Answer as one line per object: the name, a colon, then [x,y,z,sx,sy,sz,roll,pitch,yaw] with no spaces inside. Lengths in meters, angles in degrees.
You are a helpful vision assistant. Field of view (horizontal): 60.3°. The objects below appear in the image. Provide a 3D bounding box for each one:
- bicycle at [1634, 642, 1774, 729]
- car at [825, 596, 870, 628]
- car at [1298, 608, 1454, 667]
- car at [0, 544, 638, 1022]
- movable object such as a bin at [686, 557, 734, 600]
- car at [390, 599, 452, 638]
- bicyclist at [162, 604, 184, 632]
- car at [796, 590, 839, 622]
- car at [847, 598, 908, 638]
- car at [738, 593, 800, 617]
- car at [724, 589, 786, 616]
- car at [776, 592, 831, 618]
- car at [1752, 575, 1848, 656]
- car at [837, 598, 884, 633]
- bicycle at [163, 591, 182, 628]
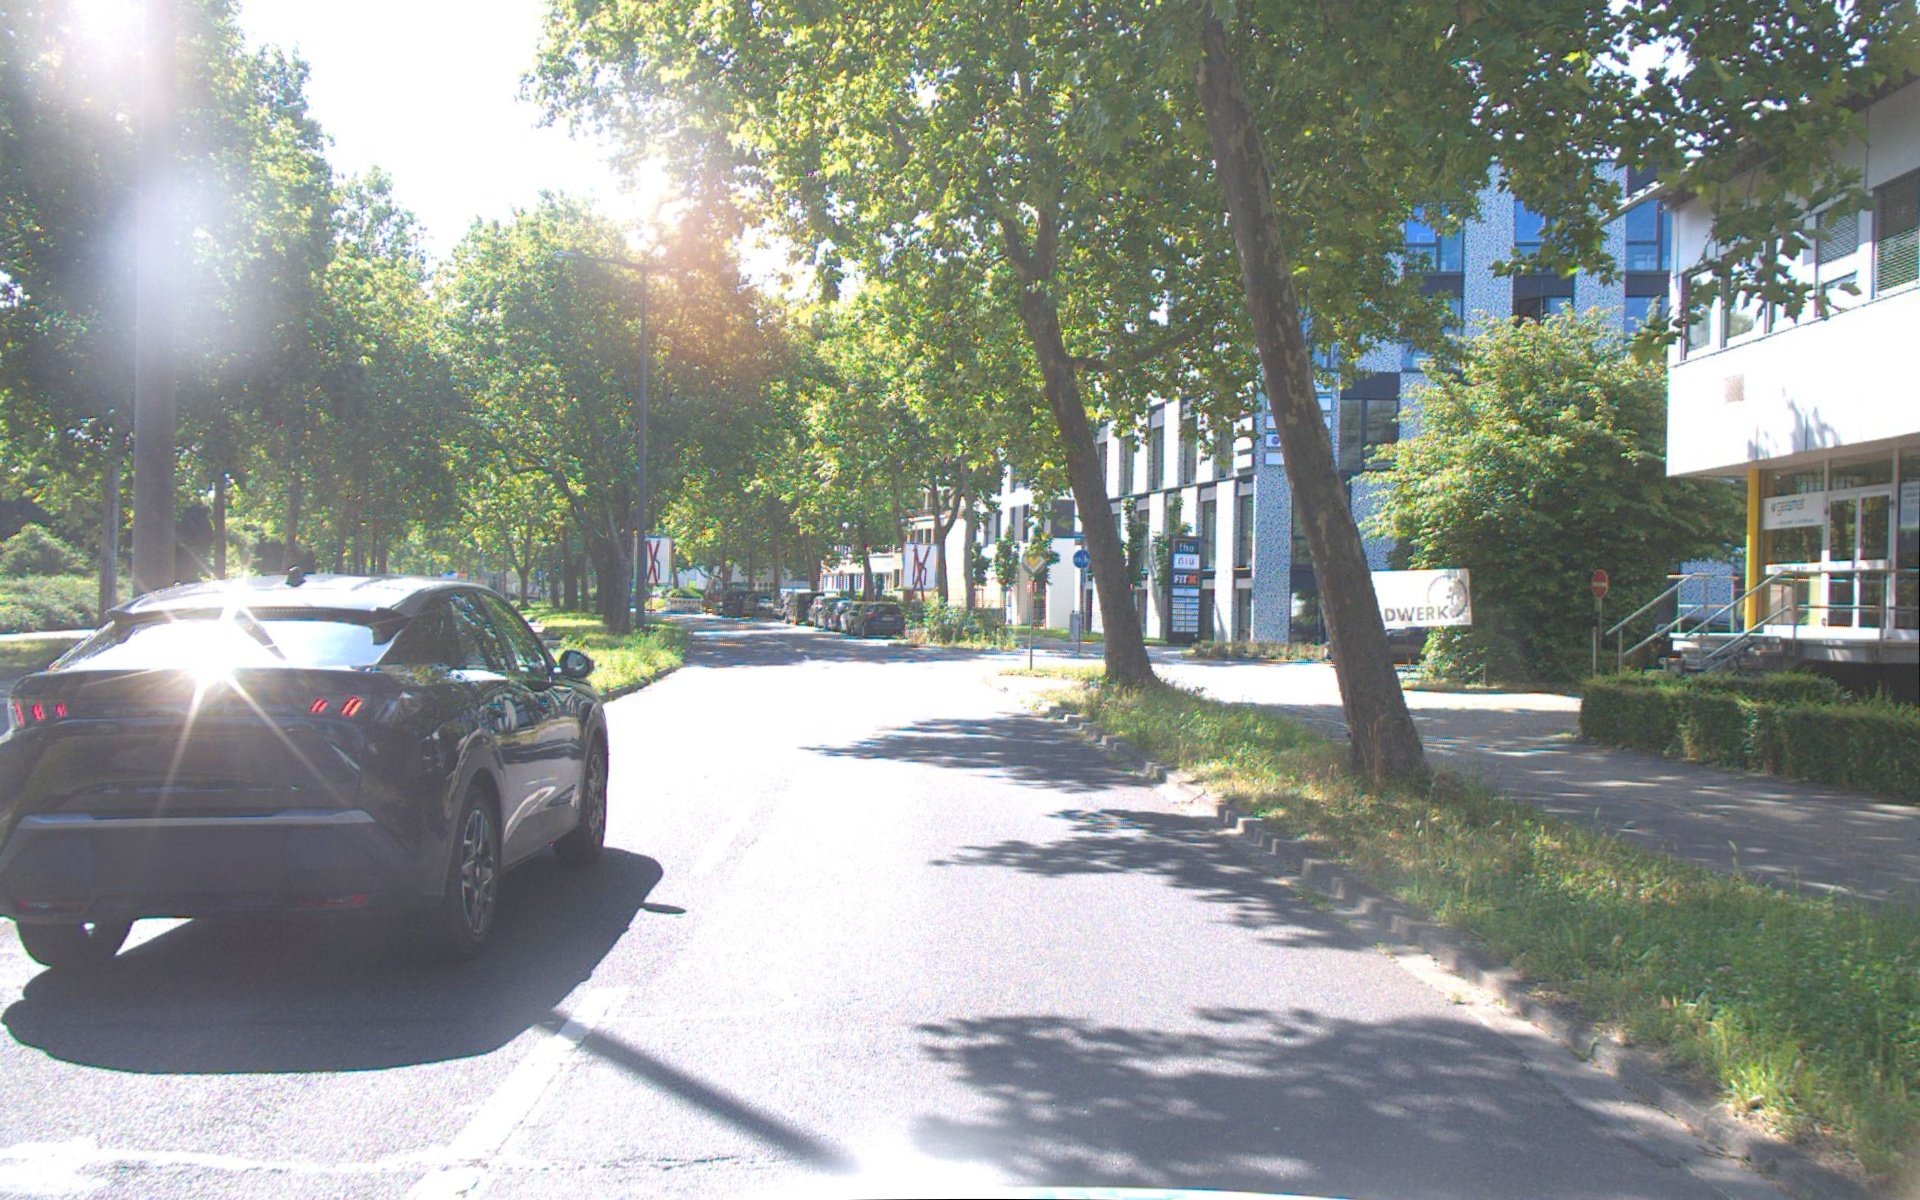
bicycle: [10.046,1.153,22.372,1.635,1.150,0.509,-1,0,8]
car: [-5.489,0.569,79.986,1.676,1.480,4.644,0,1,-10]
car: [12.083,1.068,48.253,4.158,1.544,2.001,1,0,6]
car: [-2.899,0.665,8.263,1.834,1.726,4.434,0,0,-2]
movable object such as a bin: [-19.517,-1.645,129.276,2.314,3.297,3.381,0,1,-40]
car: [-22.587,0.752,69.447,1.761,1.583,4.388,0,0,-8]
bicyclist: [-30.325,0.694,63.734,0.420,1.031,1.421,0,0,-10]
car: [-7.998,0.319,92.514,1.678,1.698,4.515,0,1,-15]
car: [-3.492,0.719,69.240,1.678,1.513,4.702,-1,1,-14]
car: [-13.437,0.363,116.587,4.058,1.662,1.694,0,1,-31]
car: [-14.639,0.158,118.047,4.061,1.912,1.765,0,1,-33]
car: [-10.582,0.334,111.851,3.497,1.668,1.651,0,0,-18]
car: [18.868,0.349,37.090,1.645,1.691,3.740,-2,-1,30]
car: [-4.539,0.695,74.987,1.676,1.513,4.091,0,1,-10]
bicycle: [-30.306,0.370,63.672,0.420,1.409,0.952,0,0,-10]
